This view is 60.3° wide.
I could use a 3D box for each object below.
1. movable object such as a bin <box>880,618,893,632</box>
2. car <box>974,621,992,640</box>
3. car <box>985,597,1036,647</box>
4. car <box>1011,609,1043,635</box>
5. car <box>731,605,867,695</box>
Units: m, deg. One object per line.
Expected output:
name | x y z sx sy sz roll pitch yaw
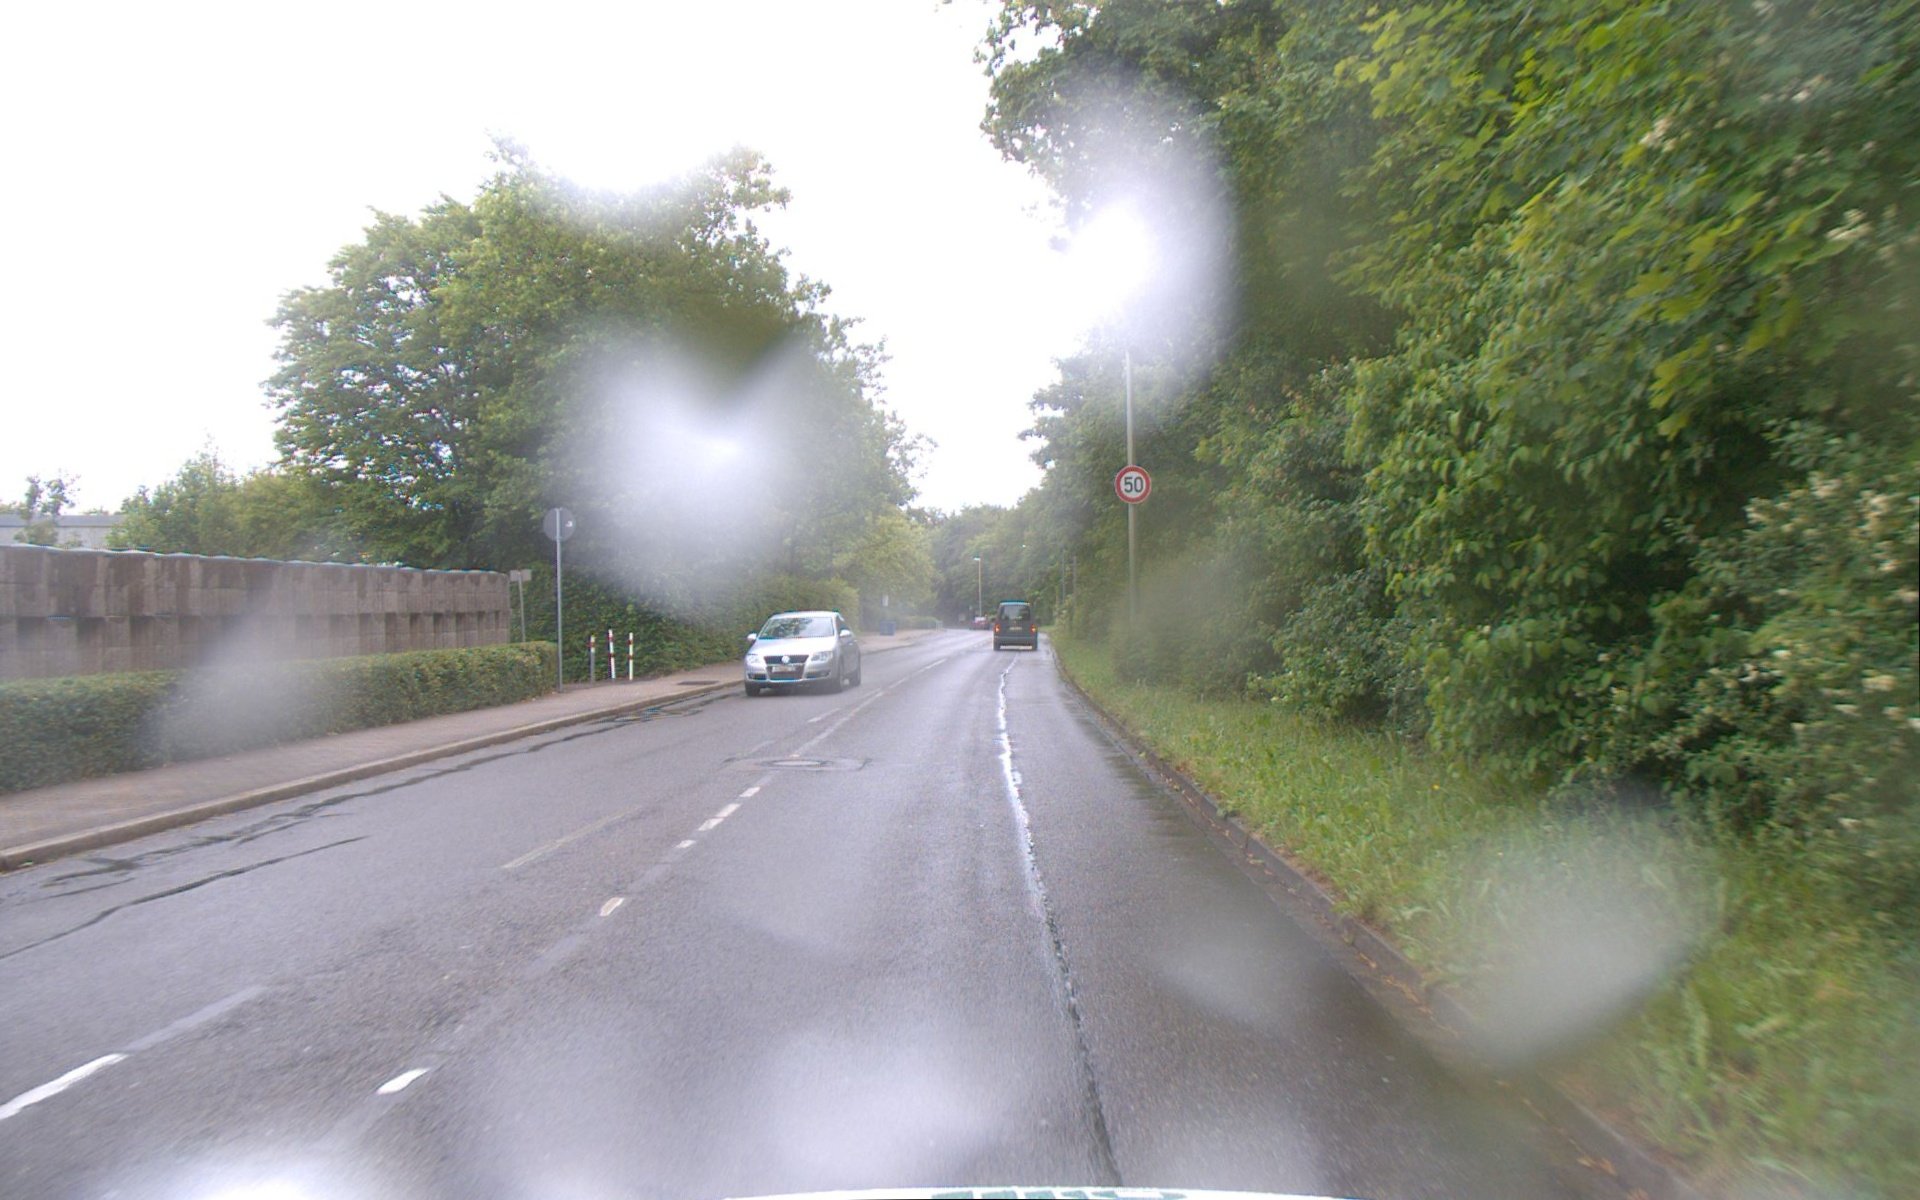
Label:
movable object such as a bin | -5.911 1.990 132.728 0.659 1.044 0.827 -3 -1 -29
car | 2.533 3.357 183.568 1.952 2.049 4.000 2 0 1
car | 1.989 0.861 65.903 1.952 1.825 4.001 1 1 1
car | 4.883 1.596 121.674 1.911 1.780 3.997 -1 1 -4
car | -2.913 0.867 30.864 1.952 1.445 4.486 -2 0 1
